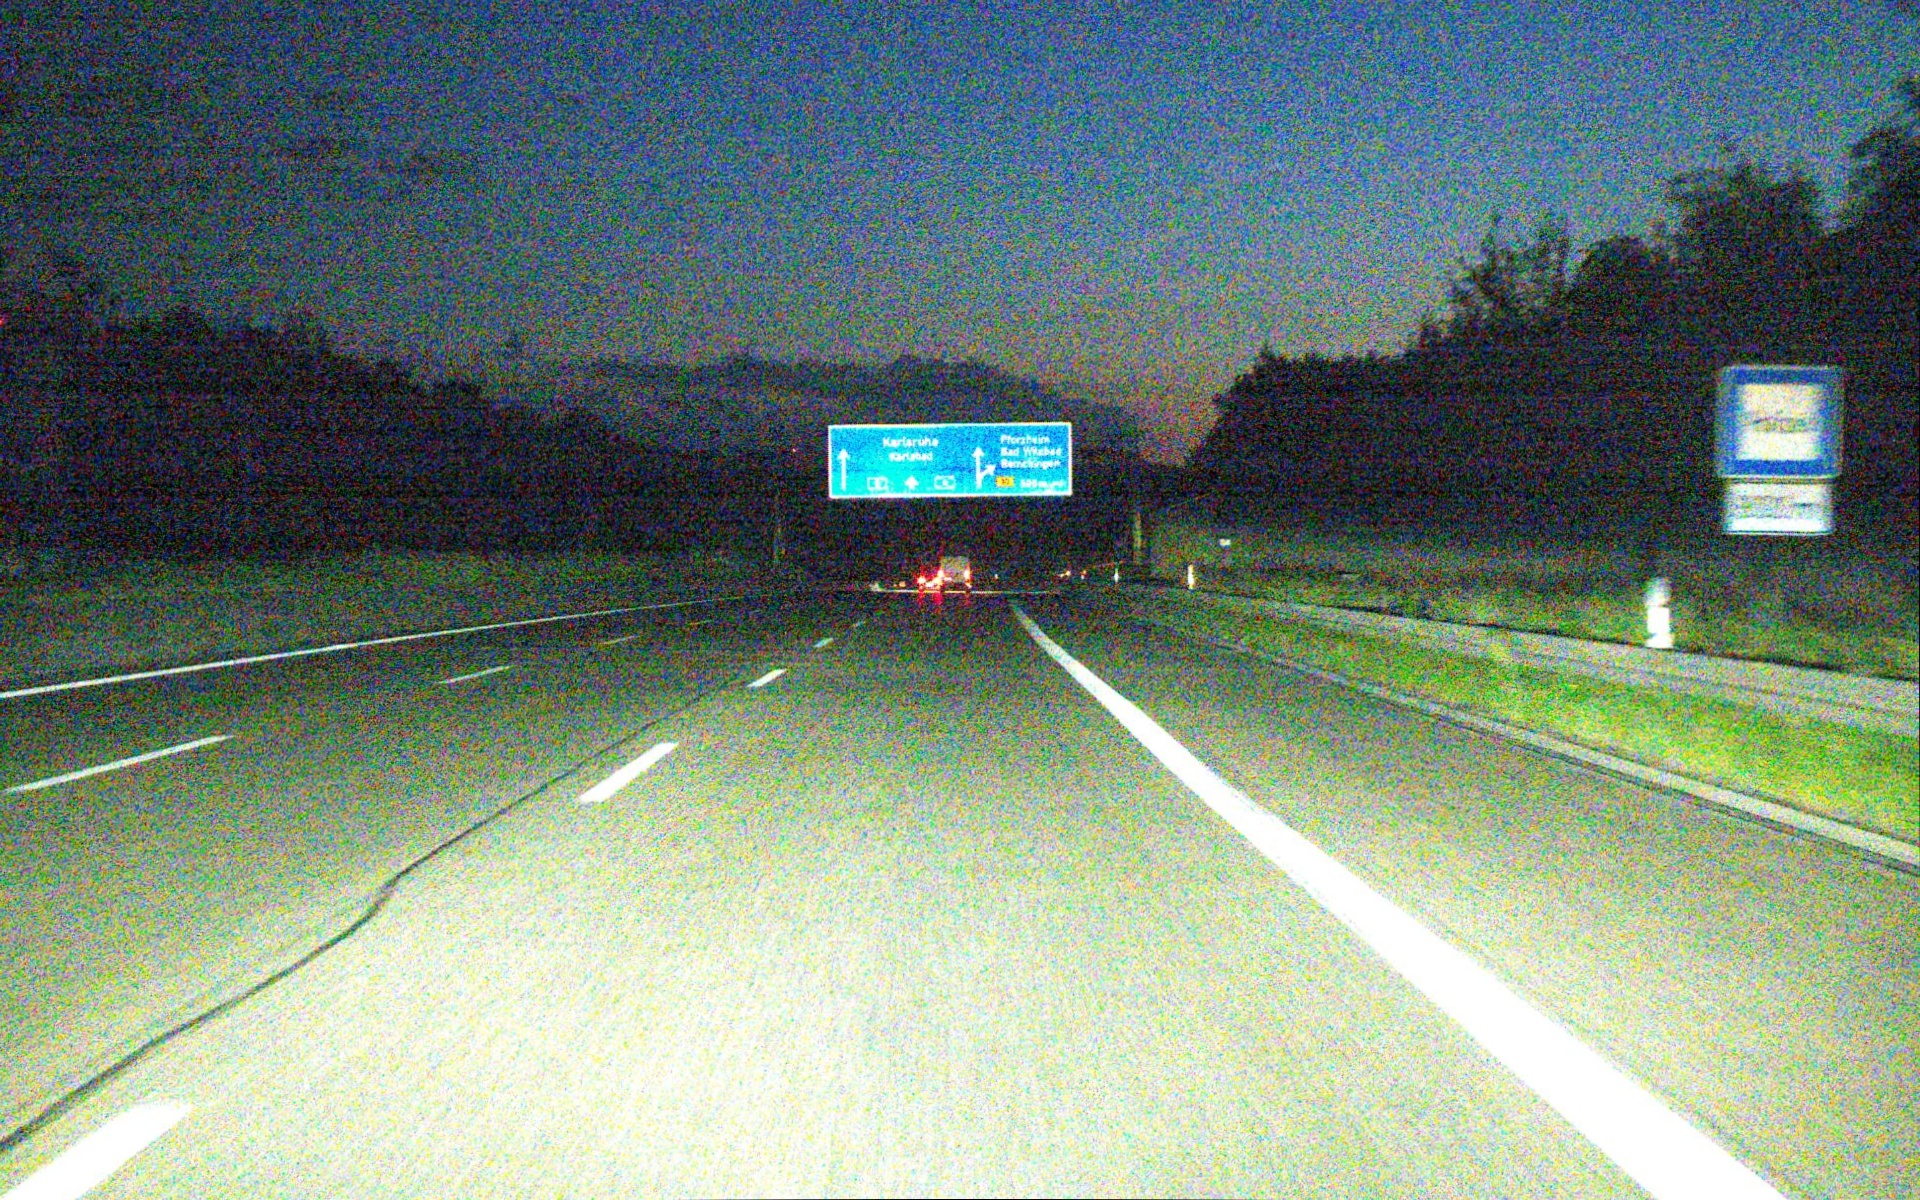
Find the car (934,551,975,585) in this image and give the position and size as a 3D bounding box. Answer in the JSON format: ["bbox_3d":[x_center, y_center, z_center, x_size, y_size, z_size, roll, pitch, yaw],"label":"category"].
[{"bbox_3d":[-0.347,-2.226,239.225,2.511,2.306,4.970,0,0,4],"label":"car"}]
